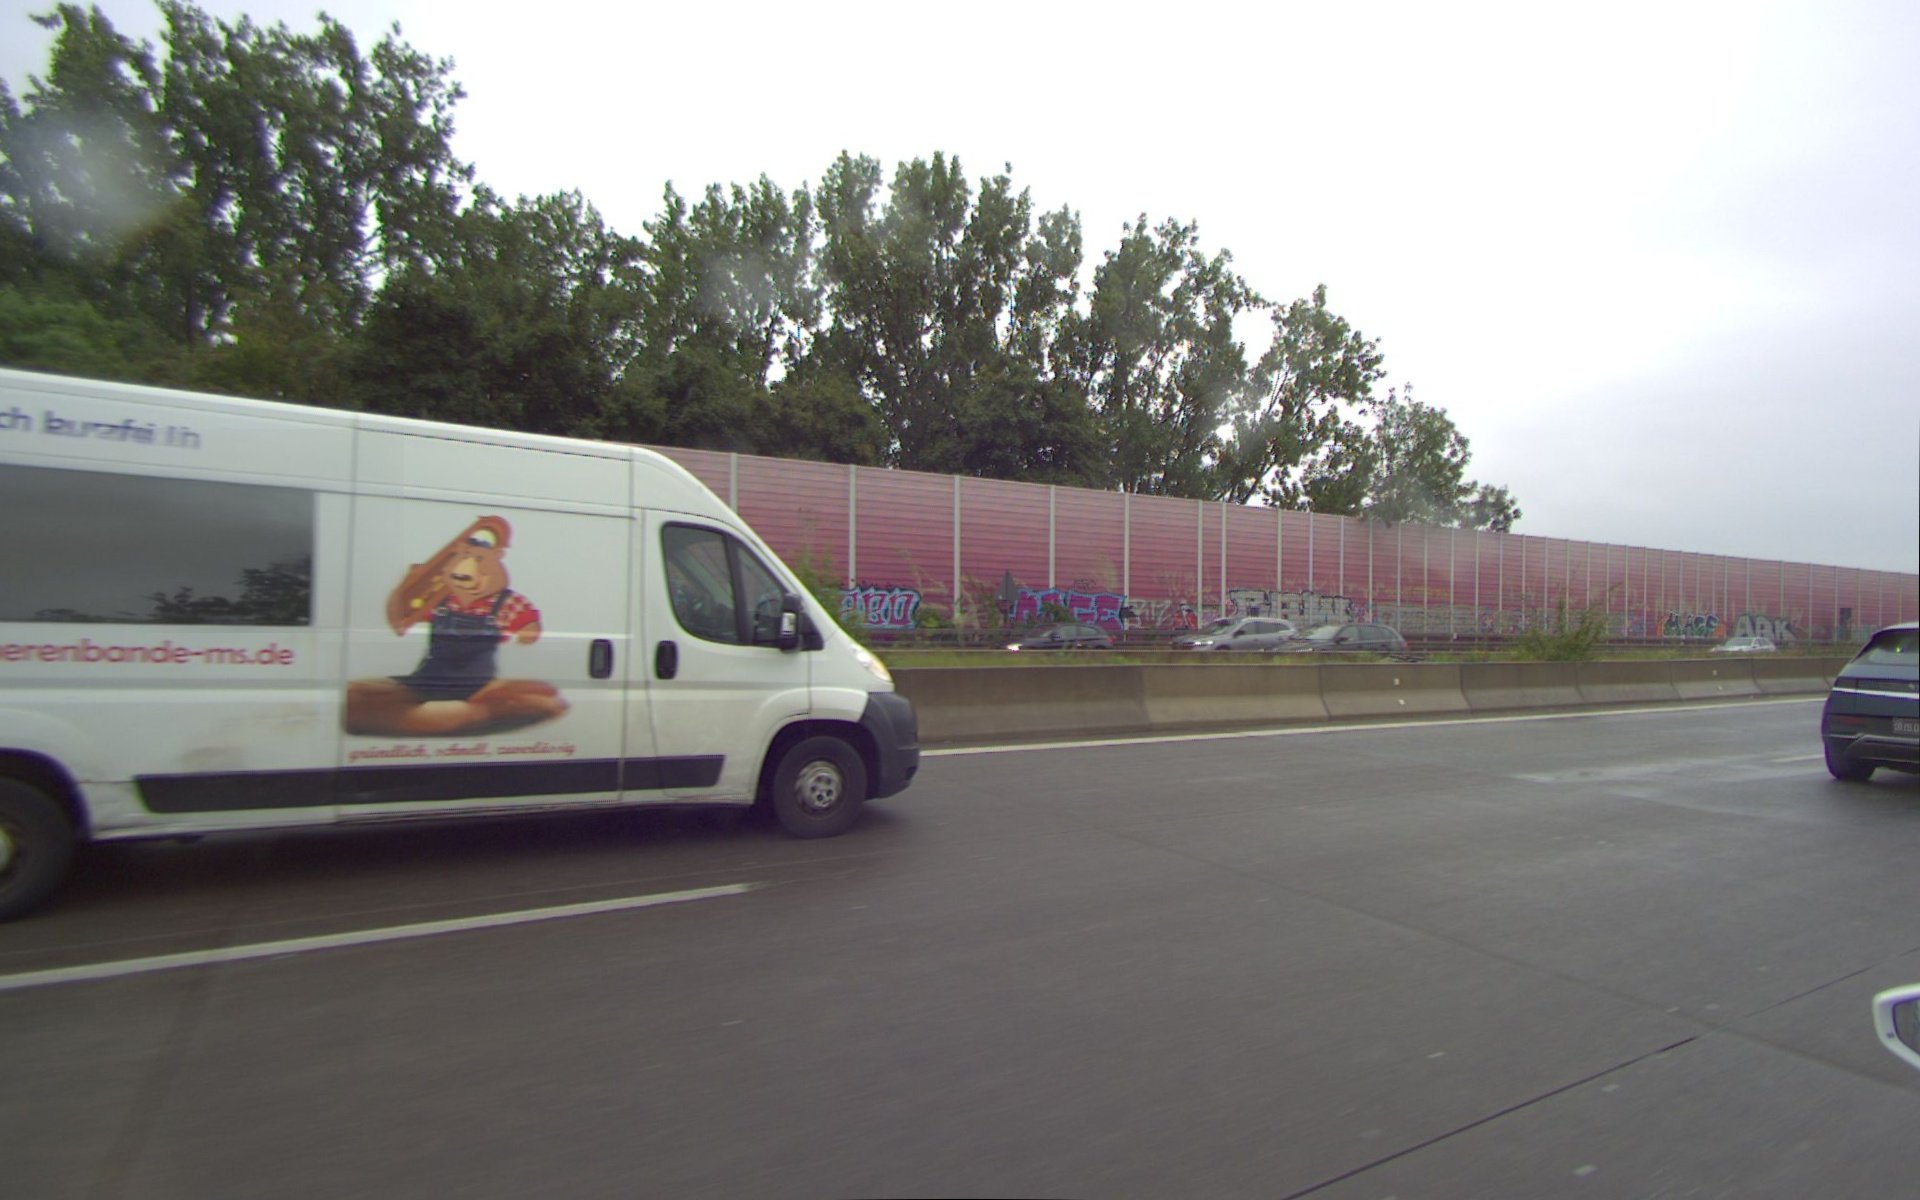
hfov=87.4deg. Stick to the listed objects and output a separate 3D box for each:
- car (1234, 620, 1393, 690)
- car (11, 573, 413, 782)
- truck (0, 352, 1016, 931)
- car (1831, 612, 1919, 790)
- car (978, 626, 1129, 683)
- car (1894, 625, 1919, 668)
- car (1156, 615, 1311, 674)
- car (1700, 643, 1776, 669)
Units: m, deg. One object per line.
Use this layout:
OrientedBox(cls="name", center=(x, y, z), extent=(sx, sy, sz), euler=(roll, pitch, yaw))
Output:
OrientedBox(cls="car", center=(9.544, 1.439, 27.062), extent=(3.953, 1.747, 1.984), euler=(1, -1, -30))
OrientedBox(cls="car", center=(-8.635, 0.806, 12.044), extent=(3.609, 2.041, 1.855), euler=(1, 5, -30))
OrientedBox(cls="truck", center=(-2.978, 0.225, 6.362), extent=(6.506, 2.512, 2.226), euler=(1, 0, -31))
OrientedBox(cls="car", center=(11.080, 0.998, 10.271), extent=(5.098, 1.615, 1.829), euler=(2, -1, -31))
OrientedBox(cls="car", center=(2.985, 1.675, 31.882), extent=(4.485, 1.670, 1.984), euler=(1, -1, -30))
OrientedBox(cls="car", center=(49.046, 2.346, 50.073), extent=(5.738, 2.041, 1.984), euler=(1, 2, -30))
OrientedBox(cls="car", center=(8.349, 1.318, 30.578), extent=(4.485, 1.670, 1.984), euler=(1, -1, -30))
OrientedBox(cls="car", center=(41.862, 2.975, 54.047), extent=(4.229, 1.311, 1.850), euler=(1, -1, -31))
